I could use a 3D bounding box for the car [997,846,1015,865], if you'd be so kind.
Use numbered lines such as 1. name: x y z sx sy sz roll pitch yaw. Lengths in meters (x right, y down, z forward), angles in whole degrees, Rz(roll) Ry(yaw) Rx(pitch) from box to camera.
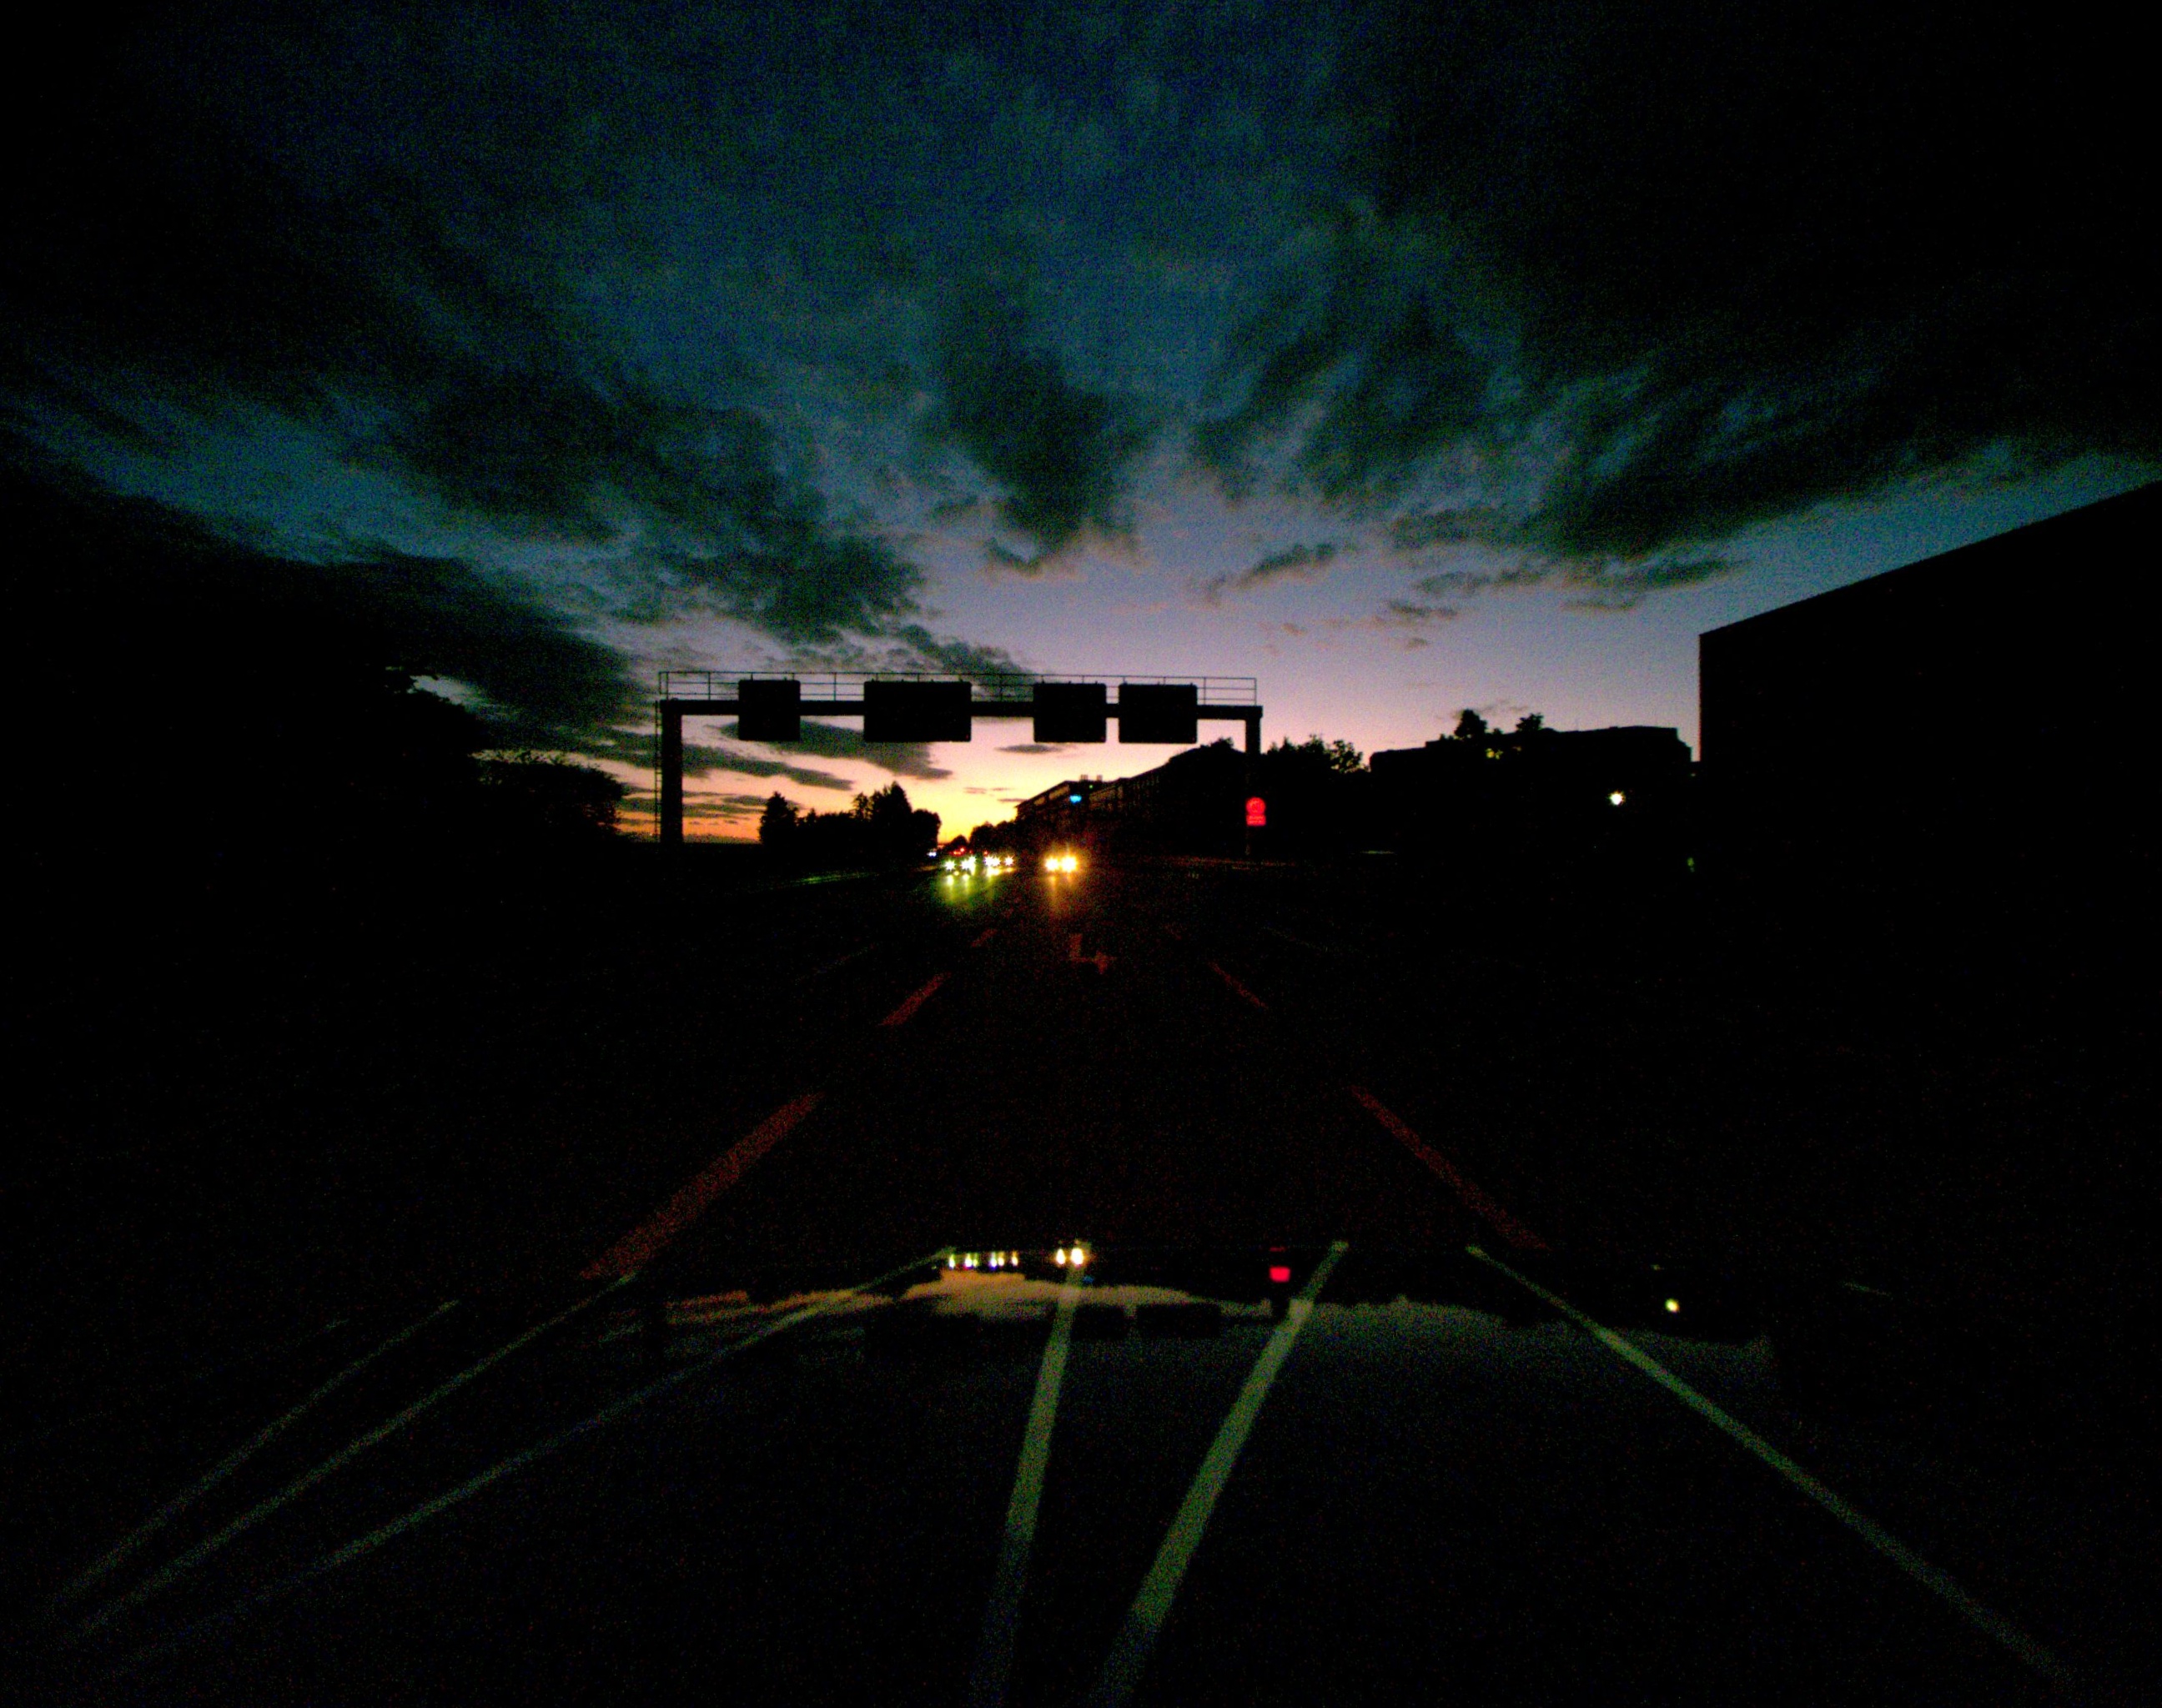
1. car: -8.427 0.115 85.554 1.863 2.002 3.997 -3 1 -5

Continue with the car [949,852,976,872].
1. car: -10.385 0.704 66.679 1.999 1.575 3.998 -3 1 -5

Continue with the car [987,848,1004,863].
1. car: -10.926 0.218 96.937 1.834 1.740 3.847 -3 1 -10

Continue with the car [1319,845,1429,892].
1. car: 10.086 0.451 26.605 1.999 1.473 4.681 -1 0 0

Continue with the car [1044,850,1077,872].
1. car: -1.494 0.464 54.418 1.757 1.447 3.800 -3 1 -10
